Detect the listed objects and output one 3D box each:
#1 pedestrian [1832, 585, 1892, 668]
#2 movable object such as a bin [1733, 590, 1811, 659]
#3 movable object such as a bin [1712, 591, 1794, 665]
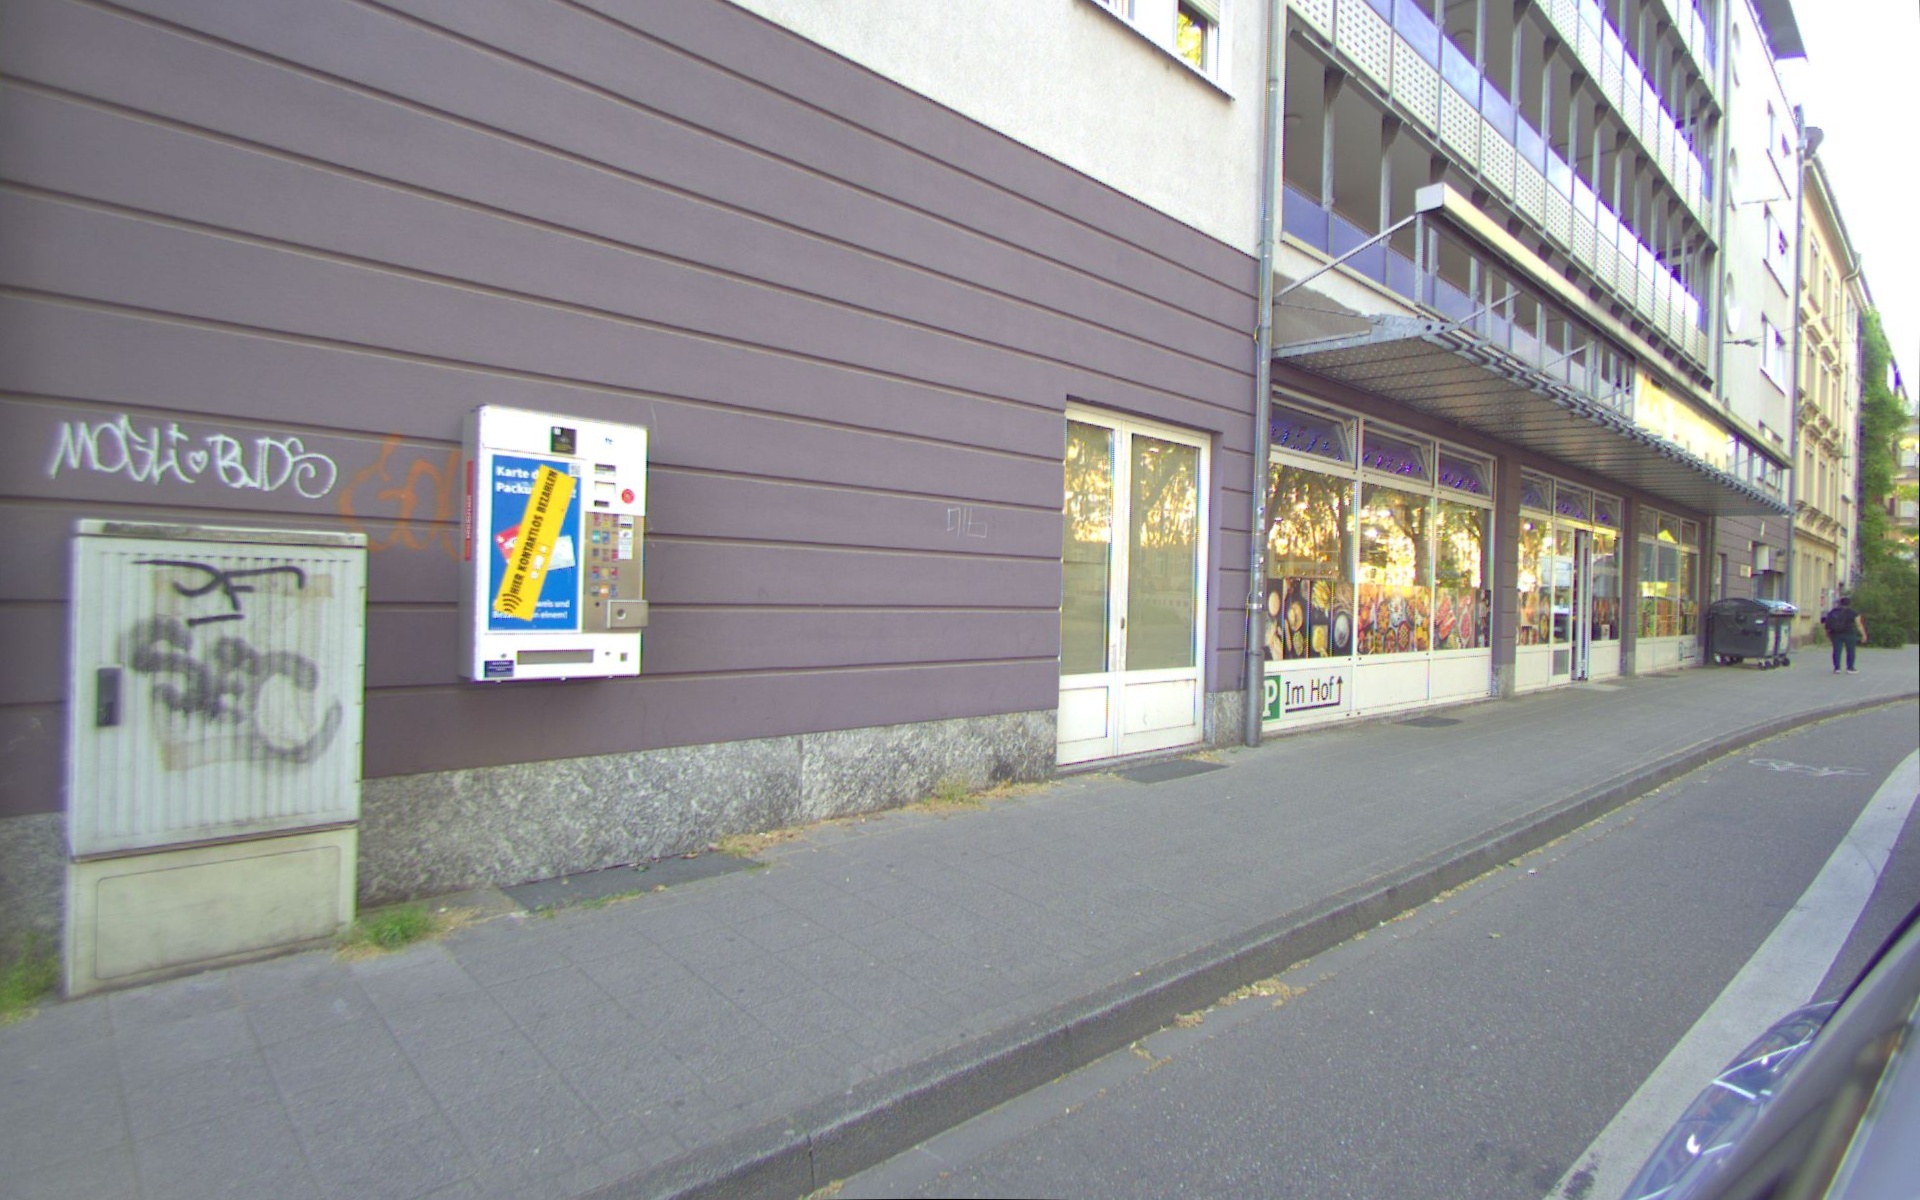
[{"bbox_3d":[18.166,0.513,20.385,0.862,1.612,0.613,2,1,44],"label":"pedestrian"},{"bbox_3d":[17.777,0.515,22.154,0.923,1.444,1.158,1,1,-40],"label":"movable object such as a bin"},{"bbox_3d":[16.294,0.558,20.806,0.923,1.444,1.158,1,1,-40],"label":"movable object such as a bin"}]
